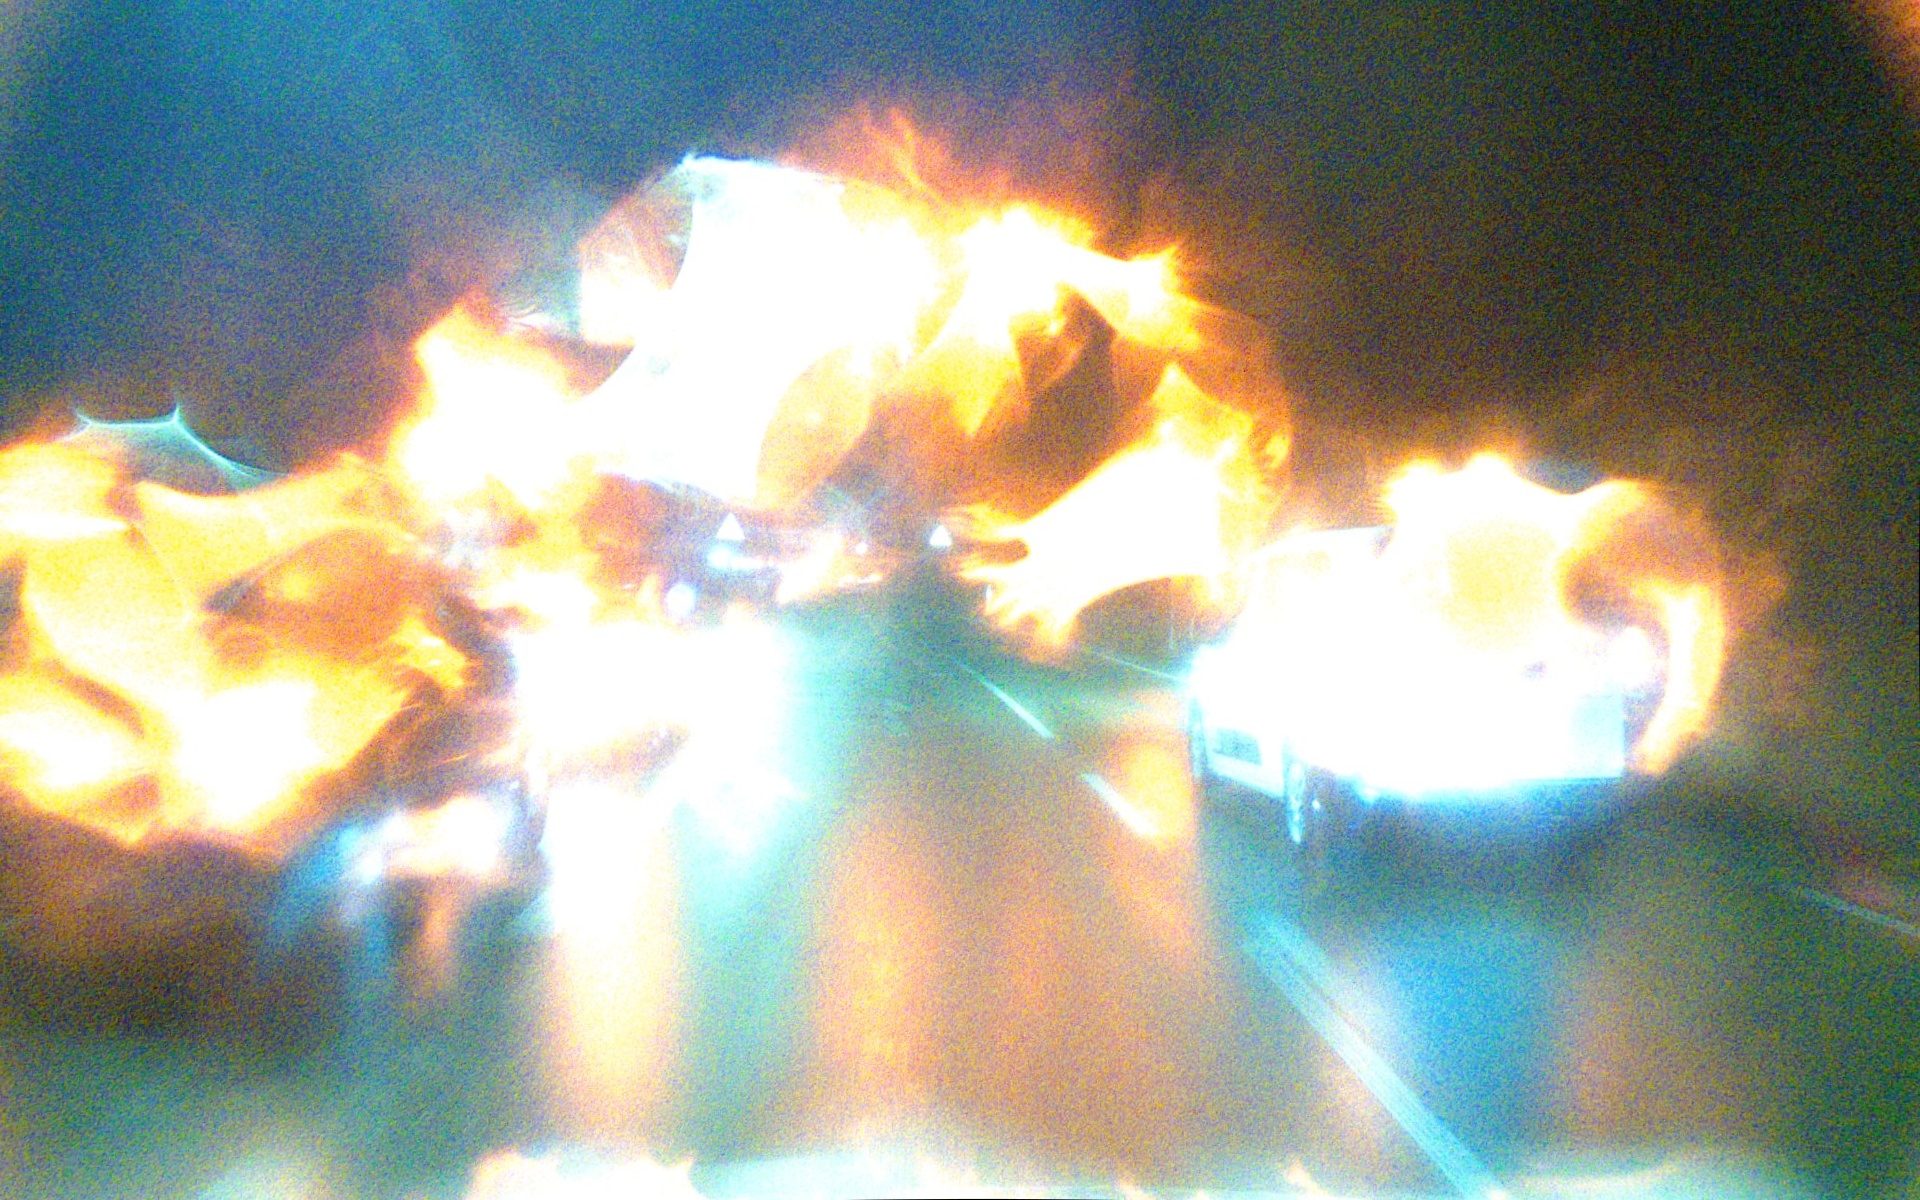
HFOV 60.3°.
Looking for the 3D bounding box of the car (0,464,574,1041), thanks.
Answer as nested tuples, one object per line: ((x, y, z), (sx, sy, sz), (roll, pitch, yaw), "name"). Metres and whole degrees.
((-3.075, 0.452, 7.405), (1.747, 1.813, 4.435), (0, 1, -2), "car")

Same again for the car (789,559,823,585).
((-11.645, -2.107, 124.946), (1.953, 1.746, 4.000), (4, -1, 2), "car")

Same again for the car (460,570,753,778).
((-2.918, 0.528, 14.578), (1.748, 1.537, 4.434), (-1, 1, -2), "car")

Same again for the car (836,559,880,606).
((-4.597, -0.785, 74.135), (1.757, 2.057, 4.574), (1, 1, -6), "car")

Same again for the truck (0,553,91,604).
((-43.933, -1.036, 78.863), (1.953, 2.311, 6.019), (1, 0, -2), "truck")

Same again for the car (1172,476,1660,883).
((2.652, 0.402, 10.820), (1.755, 2.057, 4.578), (1, 0, -2), "car")
